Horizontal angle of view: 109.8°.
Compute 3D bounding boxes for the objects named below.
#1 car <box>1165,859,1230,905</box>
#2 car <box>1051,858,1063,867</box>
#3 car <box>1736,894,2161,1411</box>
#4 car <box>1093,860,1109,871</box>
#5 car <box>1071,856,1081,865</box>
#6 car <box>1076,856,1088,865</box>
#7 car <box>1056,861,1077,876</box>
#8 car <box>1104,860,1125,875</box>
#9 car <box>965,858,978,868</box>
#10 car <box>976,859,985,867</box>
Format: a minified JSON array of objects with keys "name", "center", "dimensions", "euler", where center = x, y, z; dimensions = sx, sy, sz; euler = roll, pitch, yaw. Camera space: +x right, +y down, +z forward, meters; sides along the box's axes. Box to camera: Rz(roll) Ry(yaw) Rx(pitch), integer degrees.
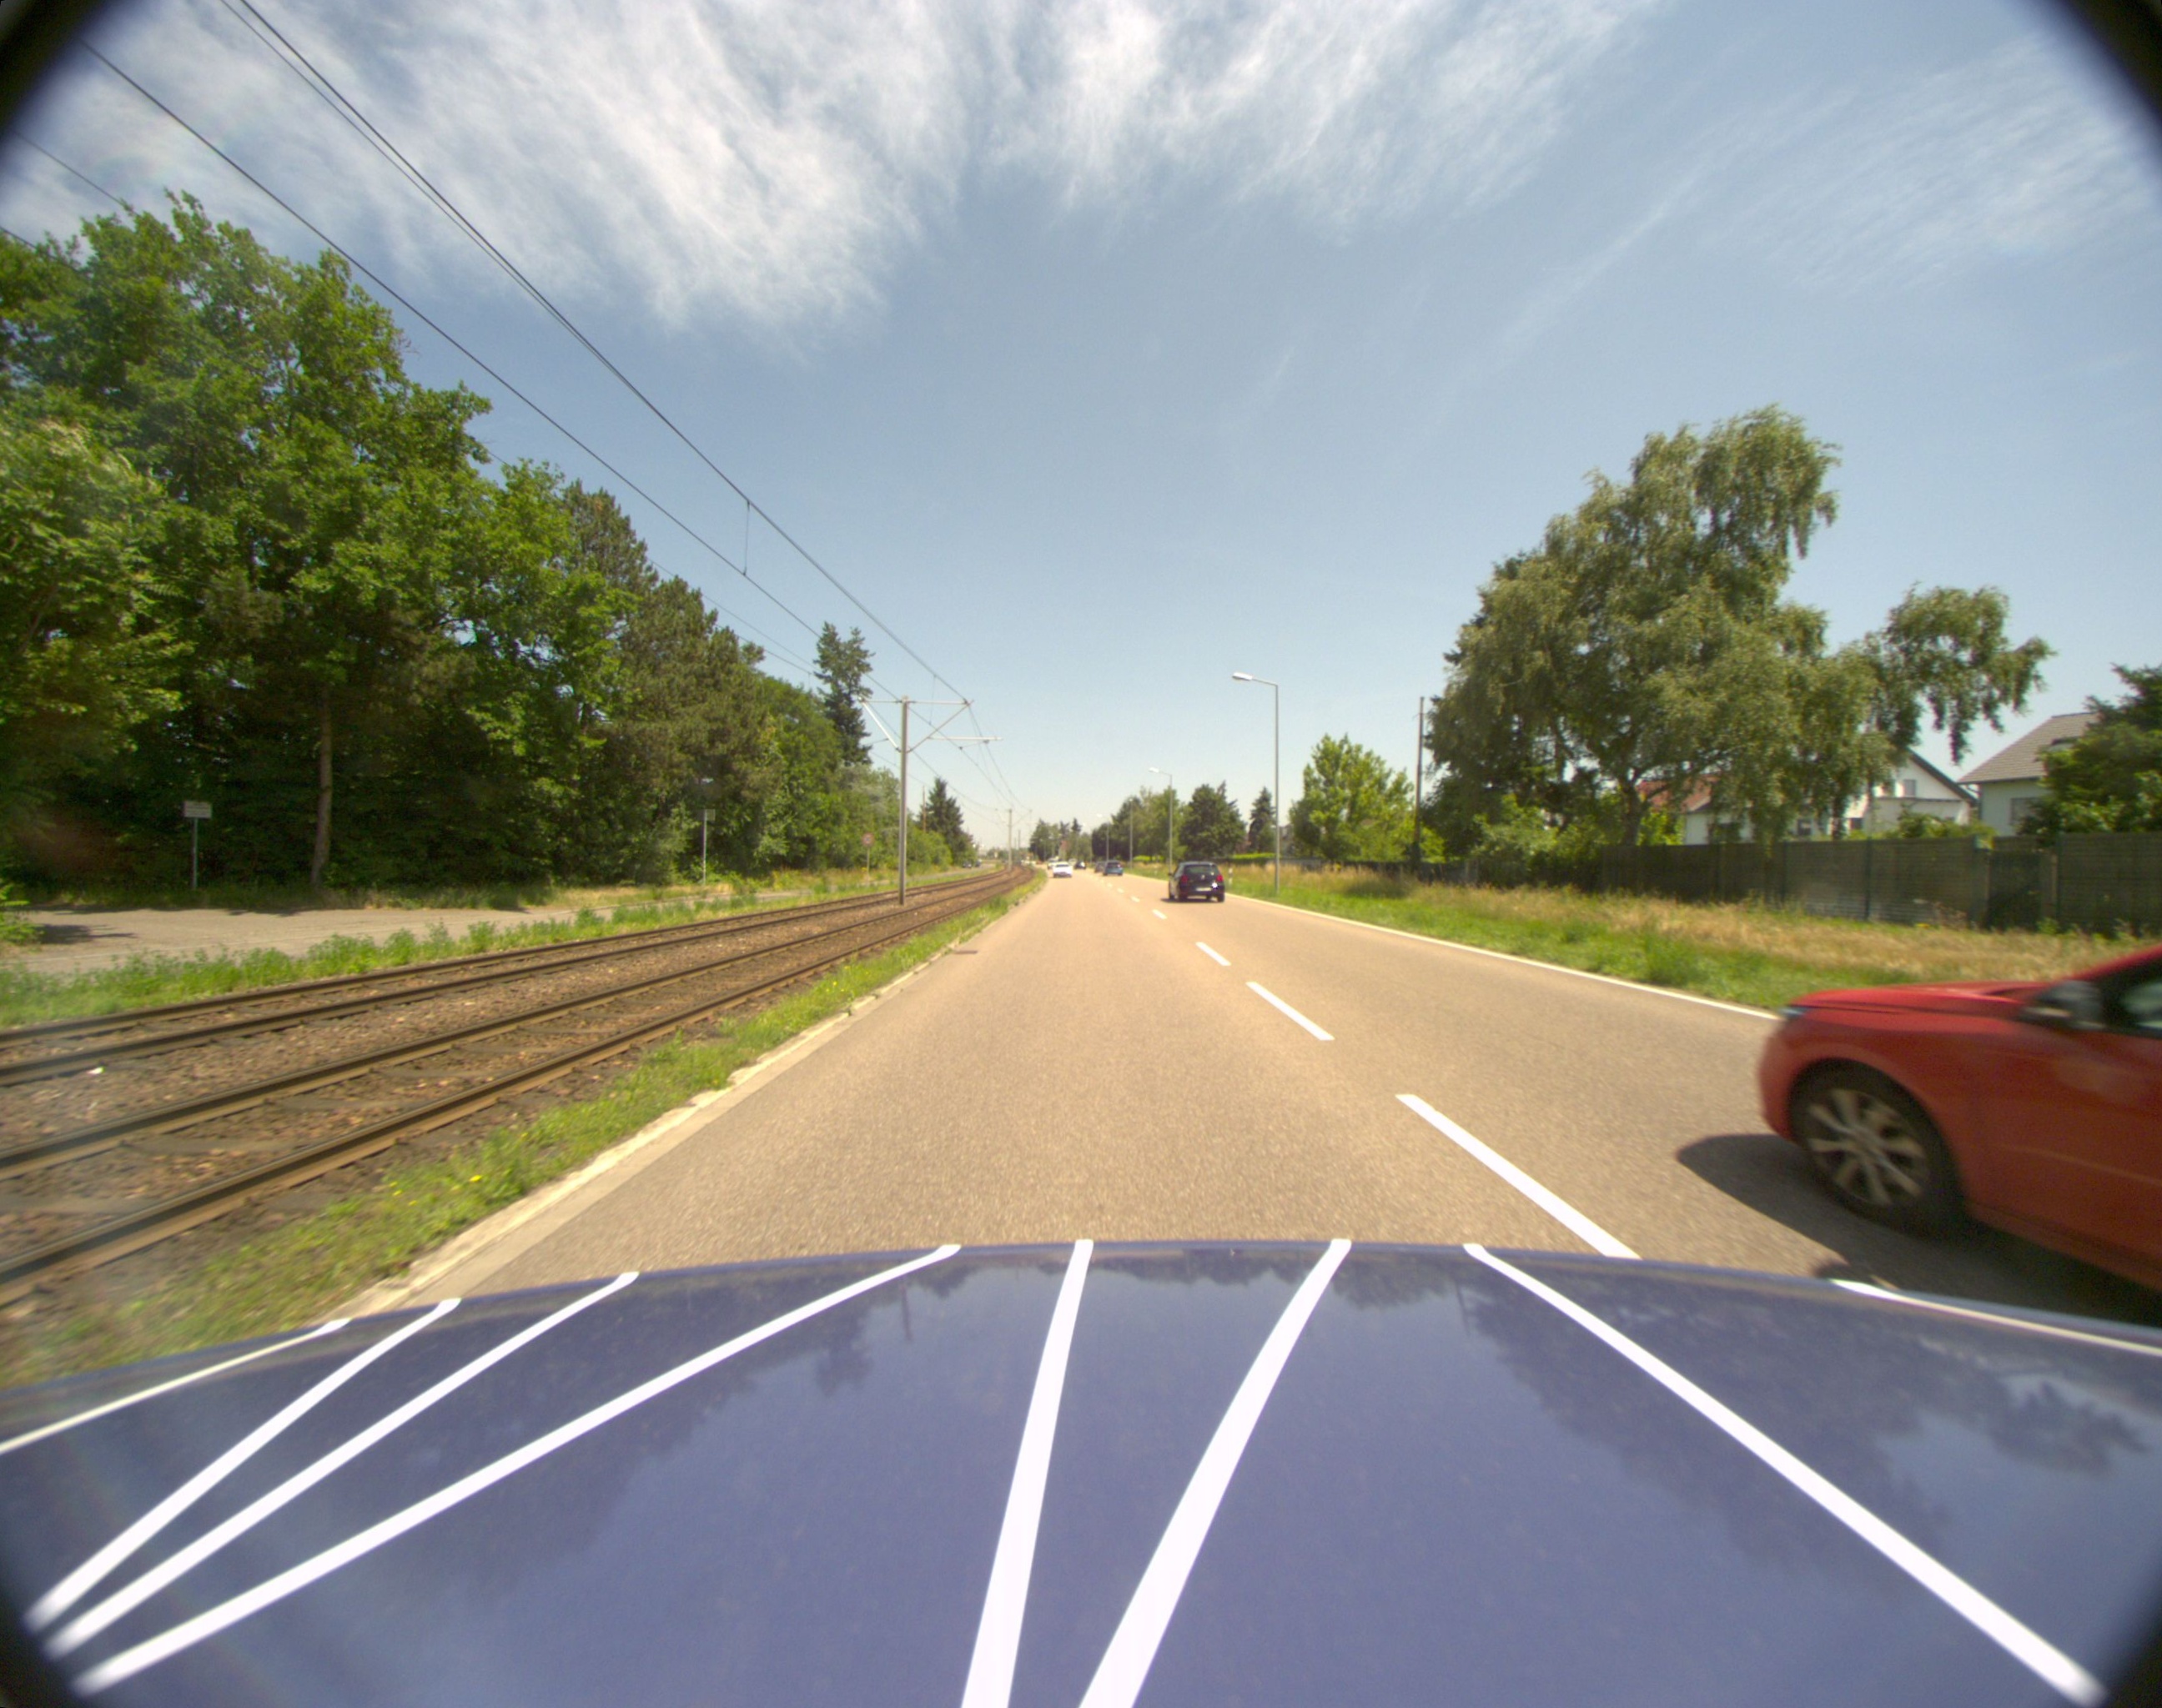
[{"name":"car","center":[4.241,0.975,28.205],"dimensions":[1.689,1.560,3.967],"euler":[0,0,-2]},{"name":"car","center":[-4.363,1.546,138.379],"dimensions":[1.891,1.455,4.000],"euler":[0,0,1]},{"name":"car","center":[3.904,0.880,1.586],"dimensions":[1.683,1.390,4.000],"euler":[-1,0,1]},{"name":"car","center":[2.521,1.427,96.942],"dimensions":[1.762,1.414,4.323],"euler":[-1,0,-2]},{"name":"car","center":[-1.026,1.238,149.981],"dimensions":[1.844,1.749,4.931],"euler":[0,0,-2]},{"name":"car","center":[0.168,1.084,124.800],"dimensions":[1.740,1.487,4.828],"euler":[0,0,-2]},{"name":"car","center":[-1.477,1.381,74.304],"dimensions":[1.955,1.467,4.361],"euler":[0,0,-2]},{"name":"car","center":[3.345,1.370,76.690],"dimensions":[1.820,1.496,3.999],"euler":[0,0,-2]},{"name":"car","center":[-21.518,1.727,148.998],"dimensions":[1.999,1.710,3.999],"euler":[-2,0,-2]},{"name":"car","center":[-23.956,2.191,181.355],"dimensions":[1.947,1.685,3.998],"euler":[-2,0,-6]}]
